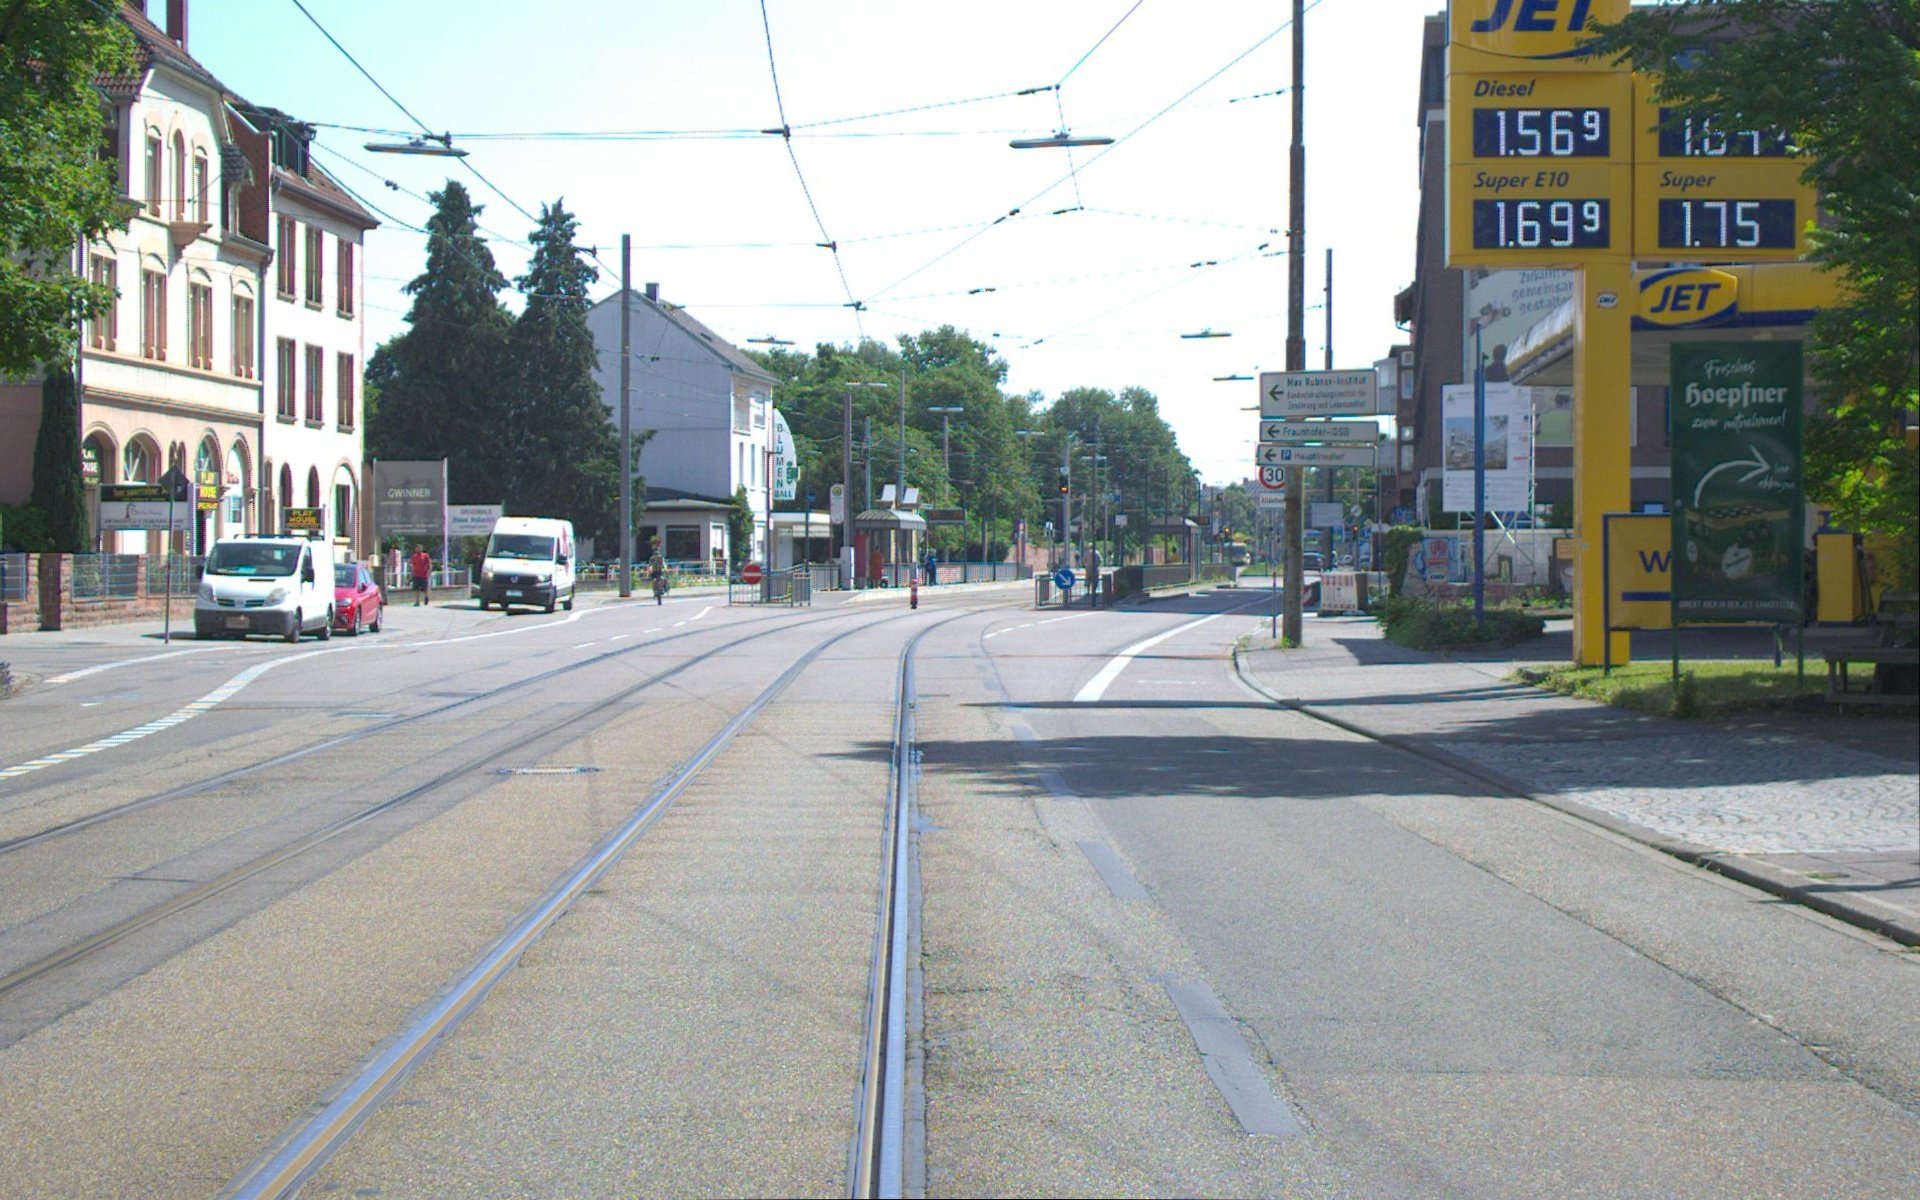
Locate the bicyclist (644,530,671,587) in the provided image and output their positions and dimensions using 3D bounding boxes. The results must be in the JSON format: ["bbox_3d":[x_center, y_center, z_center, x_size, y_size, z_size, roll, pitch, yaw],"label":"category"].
[{"bbox_3d":[-9.079,-1.248,103.139,0.716,1.718,0.988,0,1,0],"label":"bicyclist"}]

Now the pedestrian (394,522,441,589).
[{"bbox_3d":[-14.771,-1.216,93.606,0.942,1.809,1.129,0,1,9],"label":"pedestrian"}]

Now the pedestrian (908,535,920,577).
[{"bbox_3d":[-1.845,-1.773,139.082,0.415,1.684,0.708,0,1,-7],"label":"pedestrian"}]

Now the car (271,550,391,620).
[{"bbox_3d":[-12.973,-0.330,71.107,1.720,1.401,4.001,0,1,1],"label":"car"}]

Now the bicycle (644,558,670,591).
[{"bbox_3d":[-9.088,-0.774,103.179,0.608,0.980,2.164,0,1,-1],"label":"bicycle"}]

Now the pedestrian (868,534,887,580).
[{"bbox_3d":[-3.074,-1.602,128.262,0.705,1.684,0.416,0,1,0],"label":"pedestrian"}]

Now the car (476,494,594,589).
[{"bbox_3d":[-11.695,-1.649,94.990,2.329,2.527,6.507,0,2,1],"label":"car"}]

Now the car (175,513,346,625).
[{"bbox_3d":[-13.116,-0.600,64.759,2.084,2.007,4.908,1,1,1],"label":"car"}]

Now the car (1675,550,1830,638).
[{"bbox_3d":[13.691,-0.135,59.232,1.758,1.450,4.404,1,1,24],"label":"car"}]

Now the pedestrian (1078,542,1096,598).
[{"bbox_3d":[4.053,-0.966,109.633,0.556,1.754,0.793,0,1,1],"label":"pedestrian"}]
